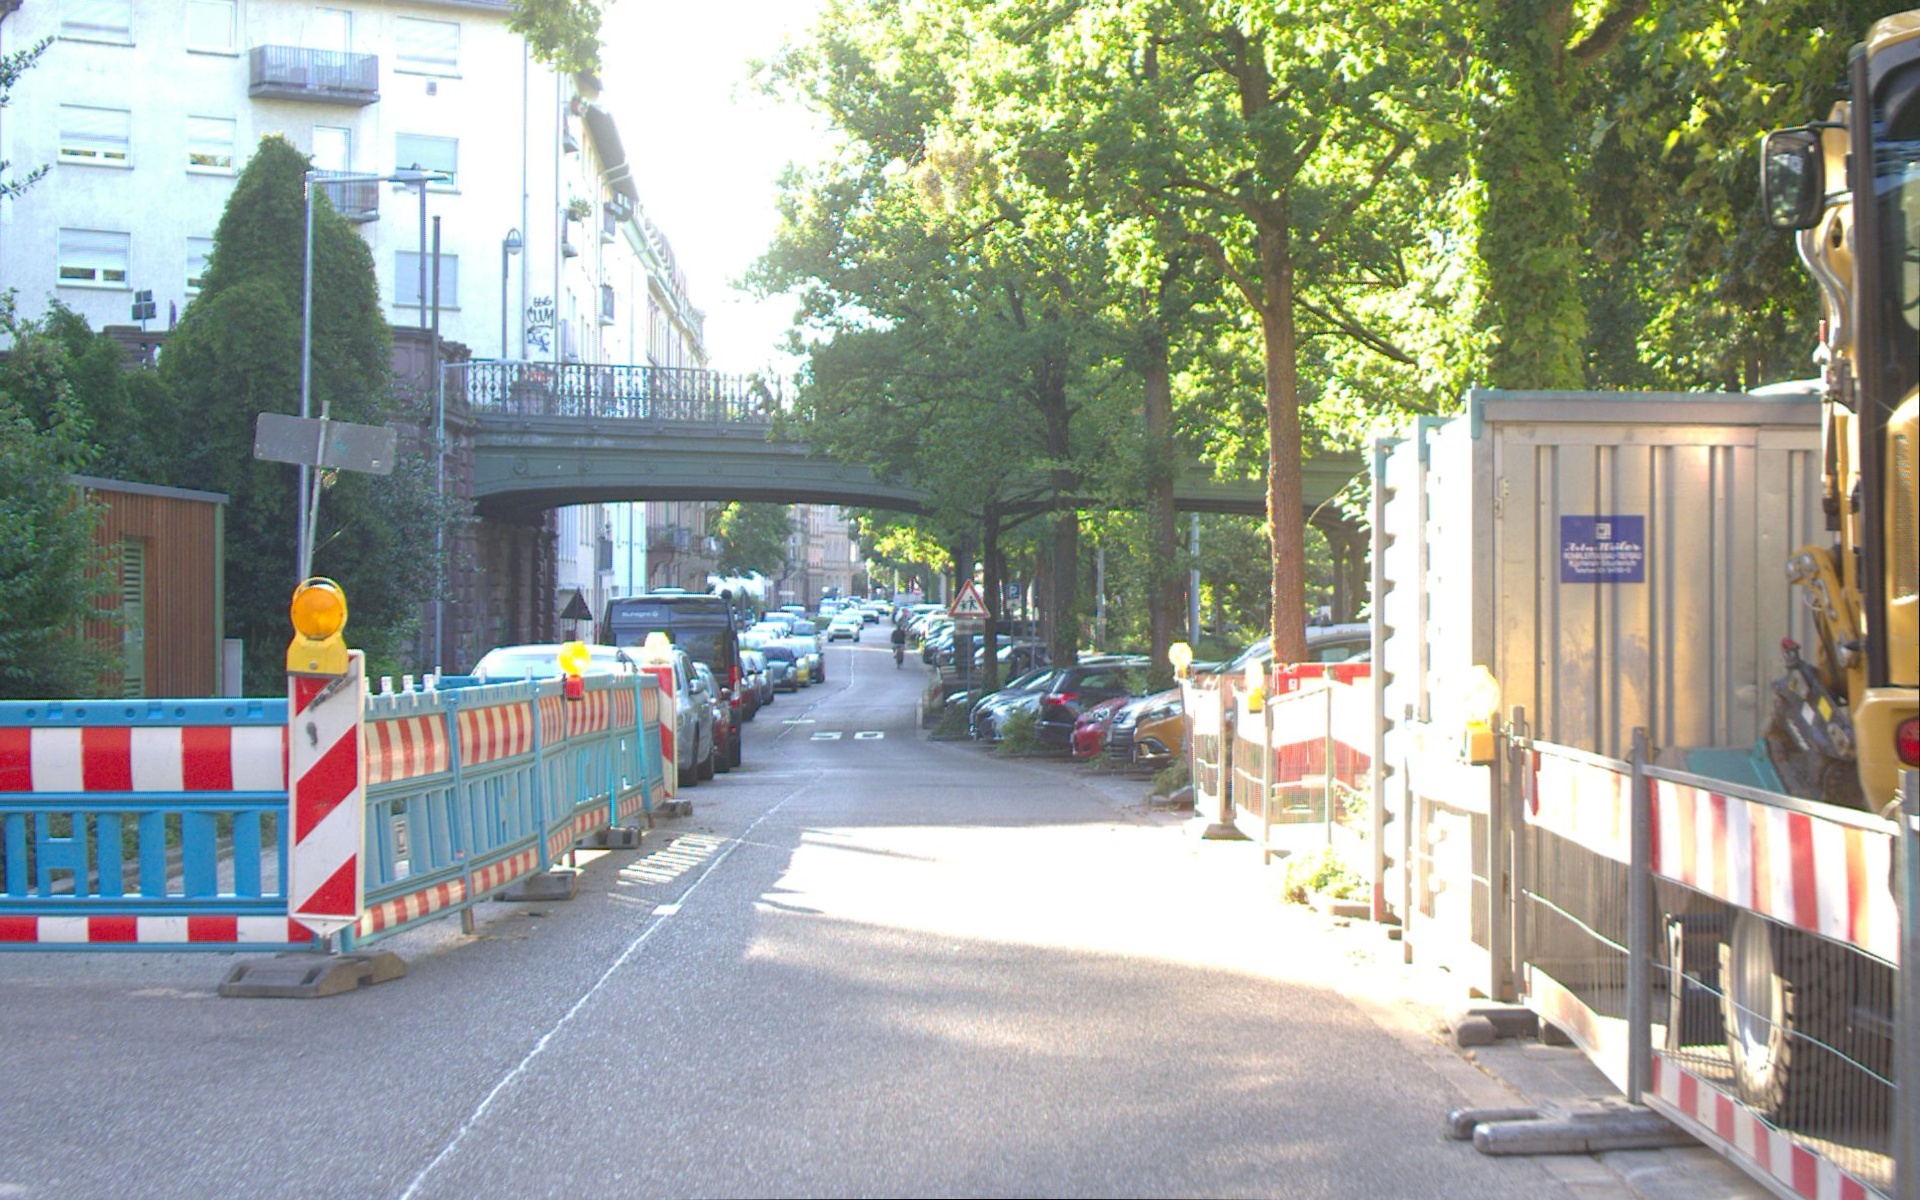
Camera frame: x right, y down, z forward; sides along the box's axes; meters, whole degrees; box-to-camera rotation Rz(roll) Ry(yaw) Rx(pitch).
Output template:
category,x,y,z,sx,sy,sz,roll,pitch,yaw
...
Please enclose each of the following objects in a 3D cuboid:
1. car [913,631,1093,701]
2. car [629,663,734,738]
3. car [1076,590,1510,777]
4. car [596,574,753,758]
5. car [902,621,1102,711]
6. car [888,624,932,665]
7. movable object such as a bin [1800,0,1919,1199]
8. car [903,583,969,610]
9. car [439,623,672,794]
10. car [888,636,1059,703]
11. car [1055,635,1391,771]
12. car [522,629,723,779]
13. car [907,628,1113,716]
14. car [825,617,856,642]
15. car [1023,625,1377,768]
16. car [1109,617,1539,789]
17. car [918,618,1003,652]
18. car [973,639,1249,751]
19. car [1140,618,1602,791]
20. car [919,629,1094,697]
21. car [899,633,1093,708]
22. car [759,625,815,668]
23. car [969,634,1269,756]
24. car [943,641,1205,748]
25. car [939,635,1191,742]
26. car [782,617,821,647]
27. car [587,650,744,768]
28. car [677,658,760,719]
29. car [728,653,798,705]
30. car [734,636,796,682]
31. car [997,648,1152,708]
category,x,y,z,sx,sy,sz,roll,pitch,yaw
car,1.070,1.684,86.850,4.387,1.604,1.781,2,-2,-3
car,-5.395,1.949,67.011,1.812,1.393,3.975,-1,-2,-2
car,3.849,0.991,40.214,4.741,1.990,1.917,2,-2,-4
car,-4.144,0.998,50.728,2.047,2.489,5.697,2,-2,-3
car,0.938,1.515,78.185,4.387,1.855,1.917,2,-2,-3
car,-2.071,1.852,142.729,1.775,1.604,4.401,1,-2,-1
movable object such as a bin,3.113,0.039,8.351,1.995,2.690,3.108,1,0,13
car,-1.633,-0.221,231.258,4.387,1.604,1.781,2,-2,-1
car,-3.591,0.967,31.095,1.715,1.413,4.106,-1,-2,-2
car,0.343,1.860,91.290,4.387,1.604,1.781,2,-2,-3
car,3.593,1.433,47.500,4.387,1.696,1.917,2,-2,-3
car,-3.562,1.069,36.925,1.812,1.435,4.350,2,0,-2
car,1.082,1.601,76.141,4.387,1.779,1.917,2,-2,-3
car,-6.931,1.717,199.673,1.812,1.393,3.975,-1,-2,-2
car,3.099,1.278,45.083,4.387,1.696,1.917,2,-2,-3
car,3.925,1.131,37.537,4.387,1.696,1.917,2,-2,-3
car,0.014,1.844,179.304,4.387,1.604,1.781,2,-2,-1
car,2.487,1.599,57.256,4.387,1.696,1.917,2,-2,-3
car,4.178,1.083,35.357,4.386,1.601,1.917,2,-2,-4
car,1.194,1.654,89.382,4.387,1.604,1.781,2,-2,-3
car,0.824,1.666,80.692,4.387,1.604,1.781,2,-2,-3
car,-5.924,1.606,117.906,1.812,1.393,3.975,-1,-2,-2
car,2.400,1.463,52.655,4.387,1.696,1.917,2,-2,-3
car,1.964,1.666,60.090,4.387,1.696,1.917,2,-2,-3
car,1.885,1.628,62.716,4.387,1.779,1.917,2,-2,-3
car,-7.710,1.559,167.577,1.812,1.393,3.975,-1,-2,-2
car,-3.848,1.431,45.504,1.812,1.448,4.350,-1,-2,-2
car,-5.816,2.143,83.083,1.812,1.393,3.975,-1,-2,-2
car,-5.484,2.200,95.882,1.812,1.393,3.975,-1,-2,-2
car,-6.089,1.866,107.865,1.812,1.393,3.975,-1,-2,-2
car,3.329,2.289,100.538,4.387,1.604,1.781,2,-2,-1
